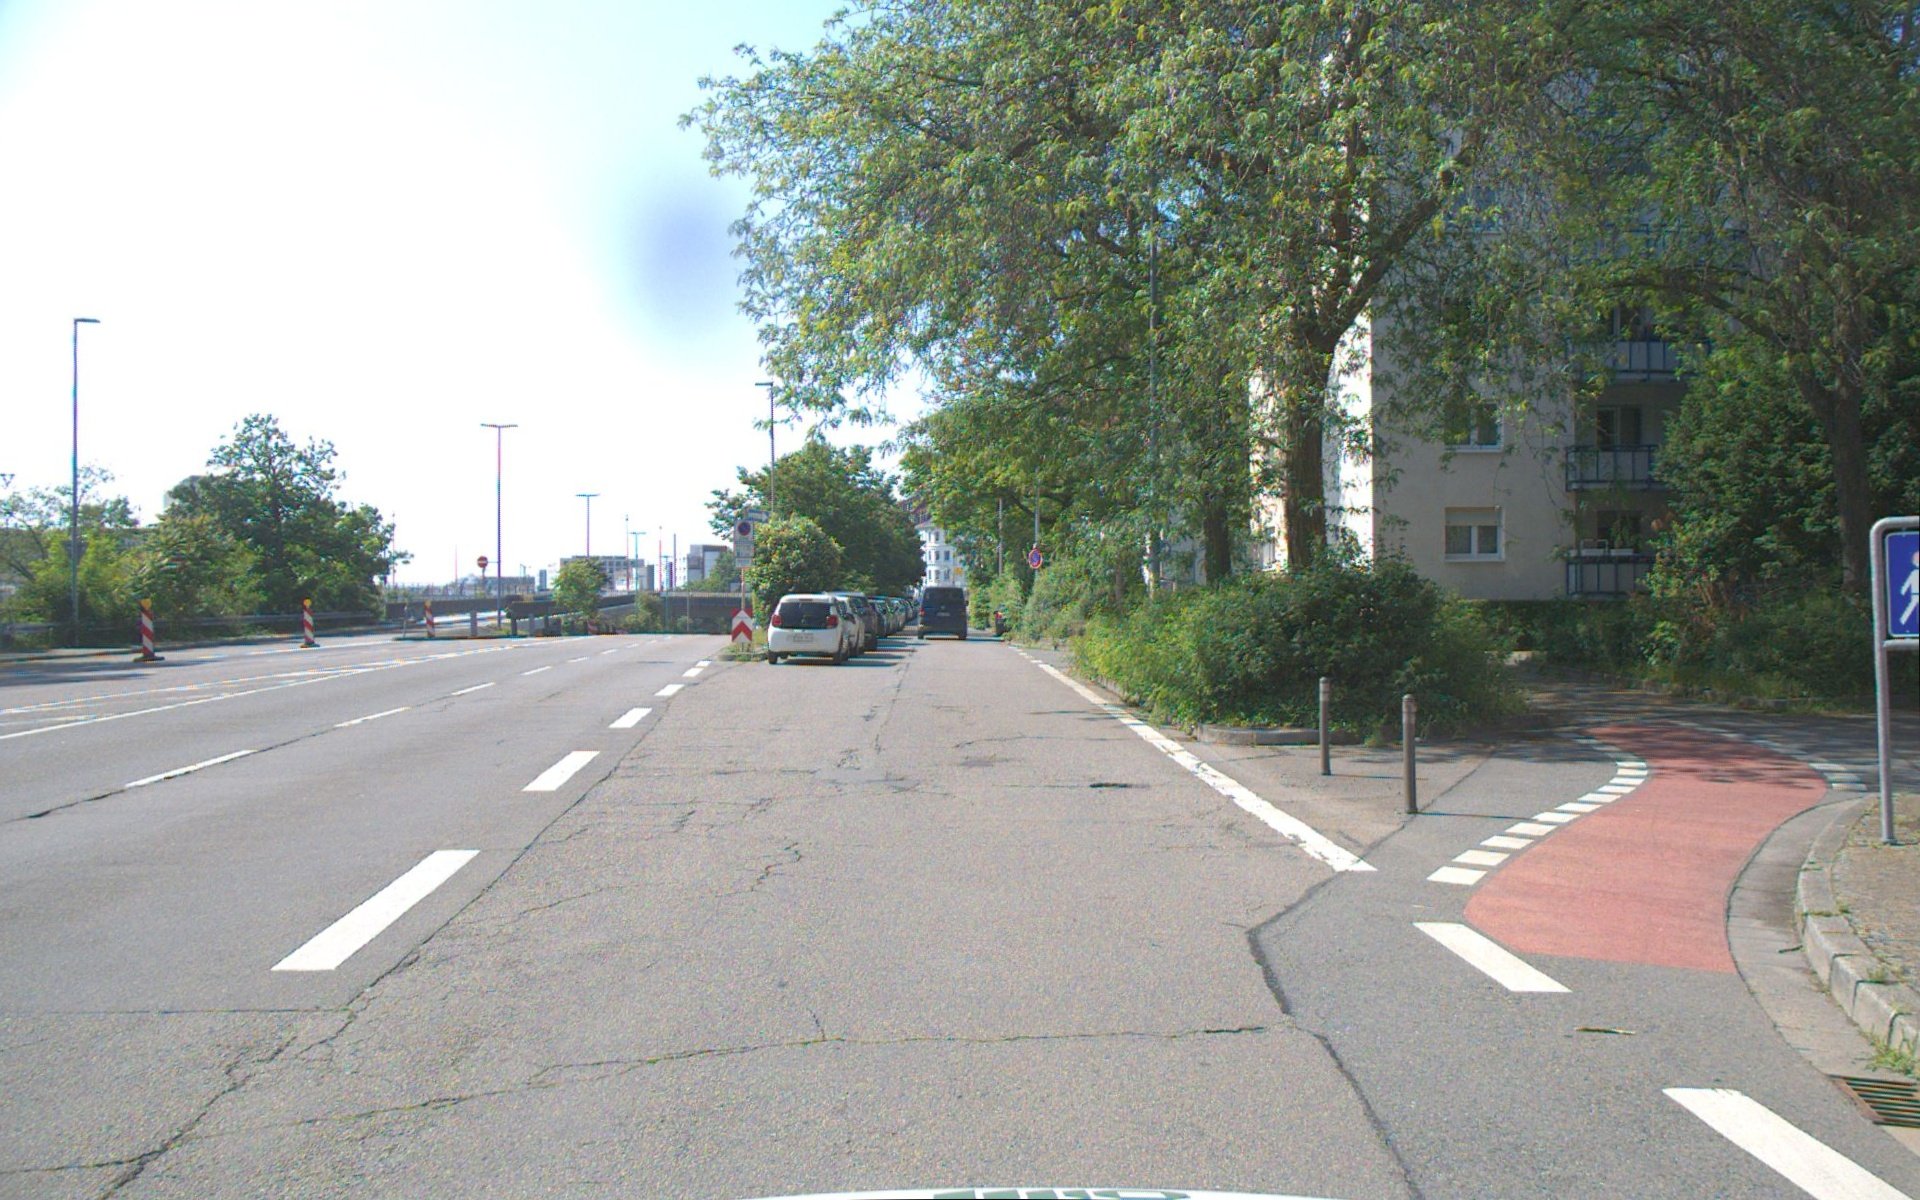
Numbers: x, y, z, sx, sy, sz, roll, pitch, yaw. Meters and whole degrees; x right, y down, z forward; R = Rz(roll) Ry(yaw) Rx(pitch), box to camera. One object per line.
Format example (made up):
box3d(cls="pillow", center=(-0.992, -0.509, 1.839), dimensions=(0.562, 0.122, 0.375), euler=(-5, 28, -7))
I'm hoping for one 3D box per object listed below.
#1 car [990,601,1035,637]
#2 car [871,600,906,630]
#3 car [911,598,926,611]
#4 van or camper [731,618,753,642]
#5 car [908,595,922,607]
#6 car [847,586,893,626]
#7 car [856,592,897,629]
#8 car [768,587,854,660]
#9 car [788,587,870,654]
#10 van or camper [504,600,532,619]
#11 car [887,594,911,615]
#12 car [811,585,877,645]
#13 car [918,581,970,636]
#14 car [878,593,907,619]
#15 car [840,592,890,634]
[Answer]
box3d(cls="car", center=(2.190, 0.773, 69.921), dimensions=(1.691, 1.445, 3.999), euler=(-1, 0, -1))
box3d(cls="car", center=(-3.806, 0.776, 88.748), dimensions=(1.630, 1.494, 4.200), euler=(2, 0, 0))
box3d(cls="car", center=(-5.723, 0.633, 227.521), dimensions=(1.953, 1.686, 3.999), euler=(0, 0, -1))
box3d(cls="van or camper", center=(-27.441, 3.768, 208.443), dimensions=(2.250, 2.838, 5.569), euler=(0, 0, -2))
box3d(cls="car", center=(-6.506, 0.178, 239.541), dimensions=(1.953, 1.686, 3.999), euler=(0, 0, -1))
box3d(cls="car", center=(-3.701, 0.250, 68.531), dimensions=(1.630, 1.538, 3.789), euler=(2, 0, 0))
box3d(cls="car", center=(-3.677, 0.445, 73.352), dimensions=(1.630, 1.611, 3.931), euler=(0, 0, 0))
box3d(cls="car", center=(-3.283, 0.501, 36.965), dimensions=(1.586, 1.532, 3.461), euler=(1, 0, 0))
box3d(cls="car", center=(-3.234, 0.491, 41.525), dimensions=(1.686, 1.531, 4.132), euler=(2, 0, 0))
box3d(cls="van or camper", center=(-33.264, 0.700, 124.549), dimensions=(1.439, 1.373, 4.624), euler=(0, 0, -7))
box3d(cls="car", center=(-4.493, 0.329, 121.643), dimensions=(1.630, 1.536, 4.008), euler=(0, 0, 0))
box3d(cls="car", center=(-3.248, 0.395, 47.009), dimensions=(1.736, 1.607, 4.184), euler=(0, 0, -2))
box3d(cls="car", center=(-0.599, 0.310, 62.626), dimensions=(1.844, 1.955, 4.008), euler=(2, 0, 0))
box3d(cls="car", center=(-4.304, 0.366, 105.581), dimensions=(1.630, 1.536, 4.008), euler=(2, 0, 0))
box3d(cls="car", center=(-3.577, 0.470, 62.697), dimensions=(1.630, 1.499, 3.789), euler=(2, 0, 0))
